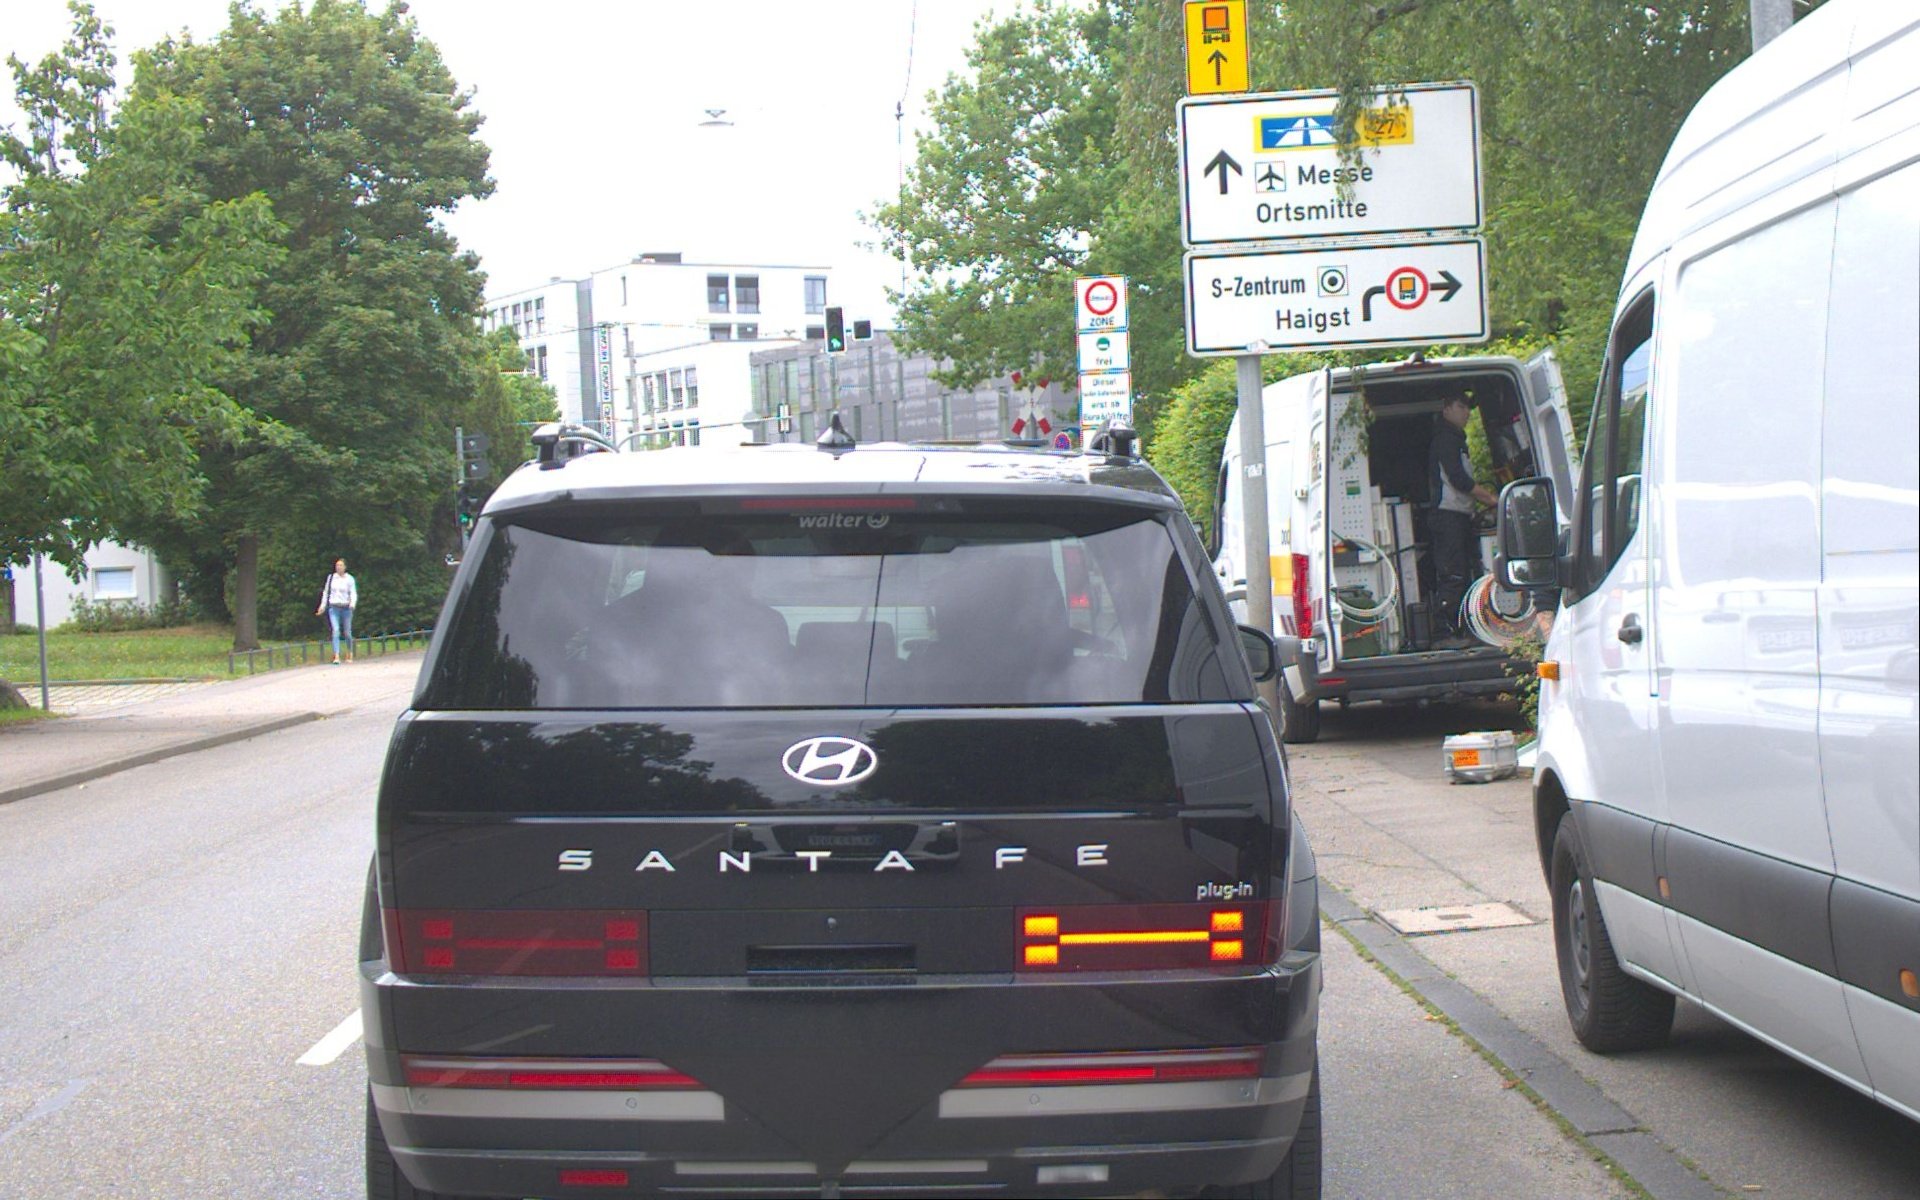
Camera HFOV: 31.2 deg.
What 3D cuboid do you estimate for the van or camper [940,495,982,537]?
[{"bbox_3d":[0.056,-4.204,172.473,1.795,1.992,3.824,1,1,-4],"label":"van or camper"}]

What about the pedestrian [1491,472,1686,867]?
[{"bbox_3d":[2.810,0.300,15.438,0.789,1.715,0.752,1,0,7],"label":"pedestrian"}]

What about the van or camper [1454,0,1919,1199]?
[{"bbox_3d":[2.608,-0.020,6.989,1.991,2.616,6.544,-5,1,-1],"label":"van or camper"}]

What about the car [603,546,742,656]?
[{"bbox_3d":[-4.272,-0.003,51.539,1.701,1.478,4.000,-4,1,-1],"label":"car"}]

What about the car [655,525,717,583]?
[{"bbox_3d":[-11.509,-1.931,144.201,2.332,2.307,4.959,-2,1,-6],"label":"car"}]

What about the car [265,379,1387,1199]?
[{"bbox_3d":[-0.253,0.502,7.869,1.897,1.770,3.994,1,1,-1],"label":"car"}]

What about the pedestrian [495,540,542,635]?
[{"bbox_3d":[-9.470,-0.263,73.771,0.830,2.007,1.047,1,0,2],"label":"pedestrian"}]

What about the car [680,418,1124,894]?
[{"bbox_3d":[-0.274,0.224,16.901,1.897,2.035,3.994,1,1,-1],"label":"car"}]

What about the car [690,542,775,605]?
[{"bbox_3d":[-5.809,-0.678,88.092,1.814,1.414,4.829,-5,1,-1],"label":"car"}]

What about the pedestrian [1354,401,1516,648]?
[{"bbox_3d":[3.277,-0.519,23.691,0.800,1.638,0.737,-3,0,31],"label":"pedestrian"}]

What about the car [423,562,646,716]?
[{"bbox_3d":[-4.413,0.360,36.253,1.756,1.398,4.414,-4,1,-1],"label":"car"}]

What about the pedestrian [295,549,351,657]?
[{"bbox_3d":[-10.459,0.042,56.455,0.767,1.742,0.904,-1,0,-2],"label":"pedestrian"}]

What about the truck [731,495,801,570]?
[{"bbox_3d":[-10.518,-3.624,185.702,3.107,3.846,9.623,-2,1,-6],"label":"truck"}]

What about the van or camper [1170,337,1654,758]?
[{"bbox_3d":[3.092,-0.332,25.262,2.340,2.486,6.603,-5,0,-1],"label":"van or camper"}]
